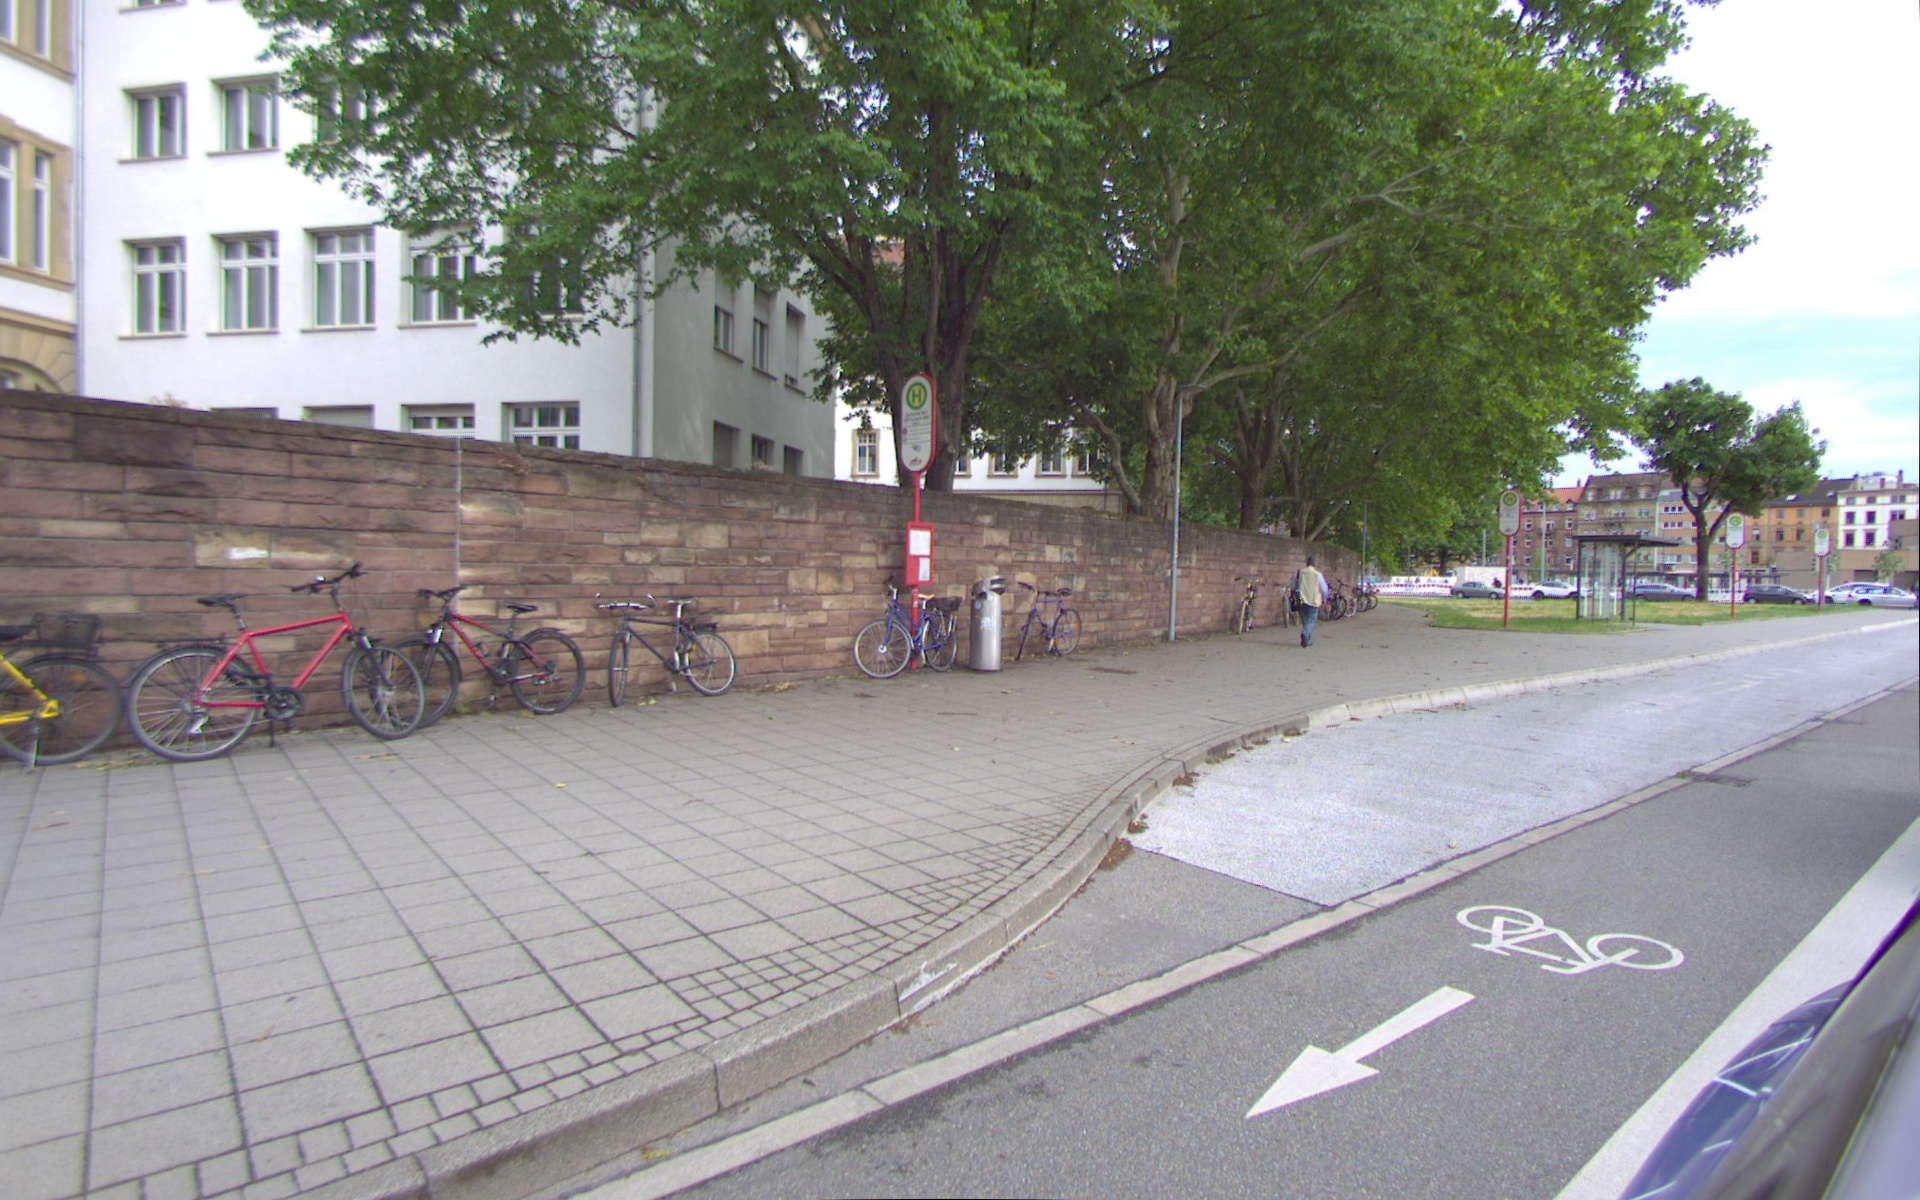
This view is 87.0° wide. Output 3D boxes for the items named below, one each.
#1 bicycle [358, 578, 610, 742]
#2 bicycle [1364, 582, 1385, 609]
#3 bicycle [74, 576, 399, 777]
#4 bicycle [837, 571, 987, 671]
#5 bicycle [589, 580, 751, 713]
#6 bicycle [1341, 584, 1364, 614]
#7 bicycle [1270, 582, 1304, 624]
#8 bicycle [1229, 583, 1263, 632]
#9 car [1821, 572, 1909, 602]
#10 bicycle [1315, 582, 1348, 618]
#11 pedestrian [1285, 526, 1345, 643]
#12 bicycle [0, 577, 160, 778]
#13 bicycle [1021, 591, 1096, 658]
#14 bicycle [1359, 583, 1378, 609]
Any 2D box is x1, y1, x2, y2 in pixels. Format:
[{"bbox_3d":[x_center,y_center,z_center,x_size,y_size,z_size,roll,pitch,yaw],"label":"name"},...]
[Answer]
[{"bbox_3d":[-3.696,0.414,8.041,0.336,1.158,1.919,0,0,33],"label":"bicycle"},{"bbox_3d":[17.332,-0.183,42.269,0.686,1.098,1.638,2,1,26],"label":"bicycle"},{"bbox_3d":[-4.732,0.431,6.812,0.381,1.158,1.930,0,0,18],"label":"bicycle"},{"bbox_3d":[-0.533,0.215,12.071,0.476,1.089,2.051,2,2,42],"label":"bicycle"},{"bbox_3d":[-2.705,0.394,9.597,0.336,1.158,1.658,0,0,33],"label":"bicycle"},{"bbox_3d":[13.074,-0.055,33.698,0.563,0.951,1.752,2,2,26],"label":"bicycle"},{"bbox_3d":[7.913,0.052,24.477,0.477,0.951,1.882,2,2,27],"label":"bicycle"},{"bbox_3d":[5.998,0.140,21.166,0.361,0.951,1.626,2,2,27],"label":"bicycle"},{"bbox_3d":[63.063,-0.896,70.617,4.254,2.039,1.977,0,0,33],"label":"car"},{"bbox_3d":[10.685,-0.013,29.066,0.648,0.951,1.939,2,2,27],"label":"bicycle"},{"bbox_3d":[6.406,-0.287,18.252,0.778,2.039,0.879,3,1,32],"label":"pedestrian"},{"bbox_3d":[-5.771,0.447,5.761,0.383,1.158,1.922,0,0,29],"label":"bicycle"},{"bbox_3d":[1.444,0.330,14.604,0.290,0.896,1.590,2,2,36],"label":"bicycle"},{"bbox_3d":[15.552,-0.158,38.505,0.555,0.951,1.342,2,2,26],"label":"bicycle"}]
